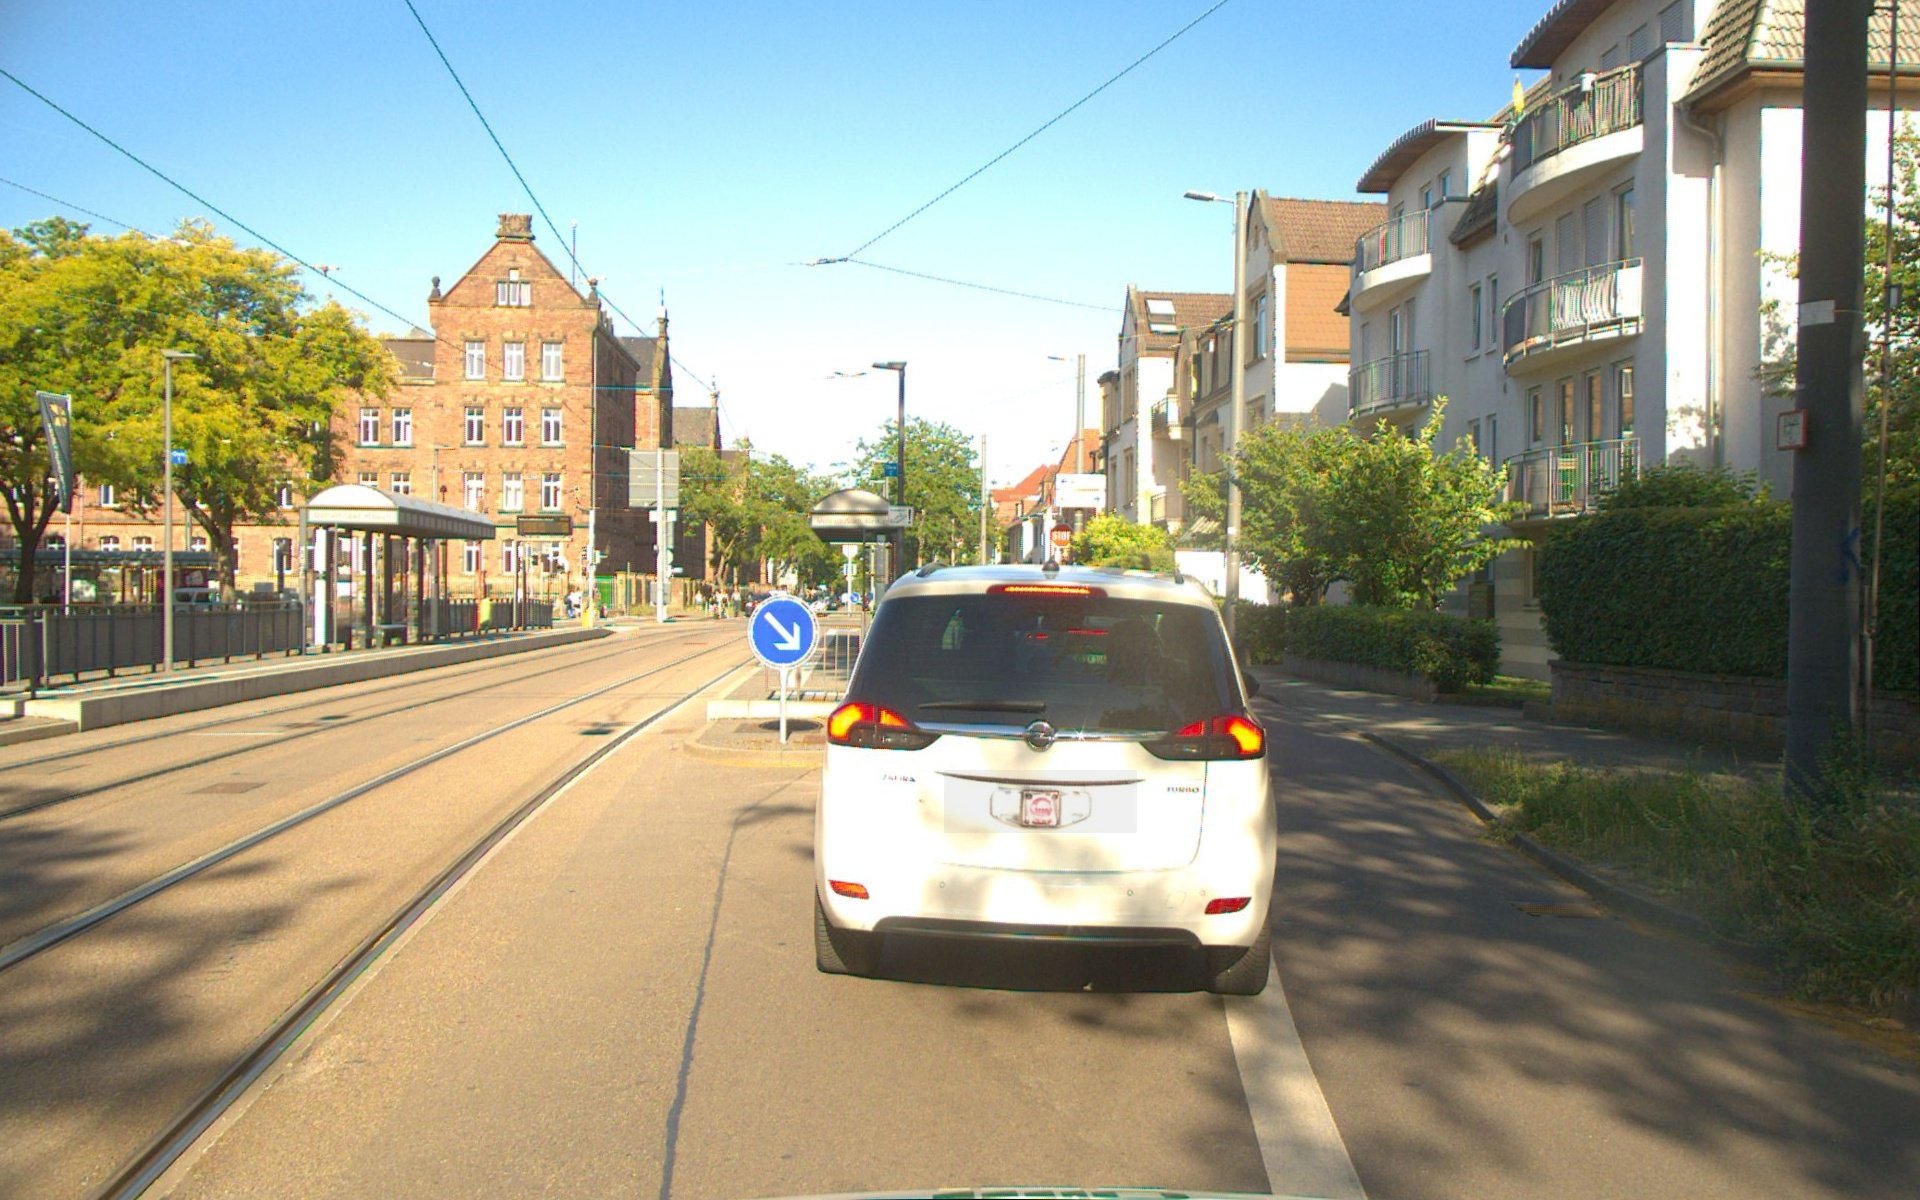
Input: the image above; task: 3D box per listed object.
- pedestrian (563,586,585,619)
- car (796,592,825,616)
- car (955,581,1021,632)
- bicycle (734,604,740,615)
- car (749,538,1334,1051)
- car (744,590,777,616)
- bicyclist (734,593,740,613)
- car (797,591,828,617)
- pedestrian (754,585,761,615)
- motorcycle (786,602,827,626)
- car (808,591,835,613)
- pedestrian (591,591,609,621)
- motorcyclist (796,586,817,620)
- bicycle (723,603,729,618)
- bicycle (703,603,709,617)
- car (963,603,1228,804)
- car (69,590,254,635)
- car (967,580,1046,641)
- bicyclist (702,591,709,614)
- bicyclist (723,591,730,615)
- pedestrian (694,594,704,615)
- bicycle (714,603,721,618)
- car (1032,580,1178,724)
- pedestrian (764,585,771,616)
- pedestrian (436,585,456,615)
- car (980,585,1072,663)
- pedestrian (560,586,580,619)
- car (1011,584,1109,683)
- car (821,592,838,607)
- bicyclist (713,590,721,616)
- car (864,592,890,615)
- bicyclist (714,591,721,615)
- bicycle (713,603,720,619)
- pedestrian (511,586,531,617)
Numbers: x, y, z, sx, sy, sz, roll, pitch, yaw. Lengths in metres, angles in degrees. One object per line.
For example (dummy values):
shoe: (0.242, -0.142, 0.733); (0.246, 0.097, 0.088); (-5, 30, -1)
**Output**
pedestrian: (-19.987, 0.137, 85.757); (0.877, 1.713, 1.029); (1, 0, -1)
car: (-10.351, 0.271, 114.246); (1.955, 1.657, 3.996); (0, 0, -5)
car: (0.830, 0.196, 51.760); (1.953, 1.529, 3.999); (0, 0, -1)
bicycle: (-15.217, 0.652, 112.912); (0.337, 0.737, 0.996); (1, 0, -4)
car: (0.457, 0.649, 7.590); (1.951, 1.673, 3.996); (1, 0, 6)
car: (-12.856, 0.204, 106.879); (1.955, 1.657, 3.996); (0, 0, -5)
bicyclist: (-15.213, 0.203, 112.935); (0.352, 1.326, 0.397); (0, 0, -4)
car: (-9.546, 0.254, 107.152); (1.955, 1.657, 3.996); (0, 0, -5)
pedestrian: (-13.646, 0.015, 111.723); (0.435, 2.049, 0.495); (0, 0, -4)
motorcycle: (-7.621, 0.695, 82.327); (2.054, 1.219, 0.605); (0, 0, -38)
car: (-10.941, 0.152, 130.476); (1.953, 1.657, 3.998); (0, 0, -3)
pedestrian: (-20.802, 0.336, 95.501); (0.719, 1.744, 0.706); (1, -1, 22)
motorcyclist: (-7.645, 0.151, 82.304); (0.836, 1.650, 0.607); (0, 0, -38)
bicycle: (-15.393, 0.682, 108.910); (0.337, 0.966, 0.996); (1, 0, -4)
bicycle: (-17.655, 0.669, 114.851); (0.337, 0.966, 0.996); (1, 0, -4)
car: (1.032, 0.750, 13.977); (1.912, 1.422, 4.001); (0, 0, 1)
car: (-35.725, 0.535, 74.183); (6.810, 1.954, 2.991); (0, 0, -2)
car: (1.200, 0.262, 44.305); (1.953, 1.529, 3.999); (0, 0, -1)
bicyclist: (-17.649, 0.193, 114.815); (0.435, 1.580, 0.495); (0, 0, -4)
bicyclist: (-15.383, 0.208, 108.903); (0.435, 1.580, 0.495); (0, 0, -4)
pedestrian: (-21.244, 0.354, 134.681); (0.720, 1.744, 0.753); (1, -1, -6)
bicycle: (-15.611, 0.668, 106.358); (0.337, 0.966, 0.996); (1, 0, -4)
car: (1.741, 0.587, 20.836); (1.603, 1.629, 3.855); (0, 0, 1)
pedestrian: (-13.049, 0.027, 112.045); (0.435, 2.049, 0.495); (0, 0, -4)
pedestrian: (-27.532, -0.002, 88.637); (0.915, 1.616, 0.802); (1, -1, -12)
car: (1.380, 0.496, 36.184); (1.793, 1.607, 4.009); (0, 0, -1)
pedestrian: (-20.666, 0.140, 87.633); (0.825, 1.721, 1.029); (1, 0, -1)
car: (1.714, 0.554, 29.264); (1.603, 1.629, 3.855); (0, 0, 1)
car: (-16.322, -0.058, 206.601); (1.953, 1.896, 3.998); (1, 0, -2)
bicyclist: (-15.153, 0.185, 103.040); (0.435, 1.580, 0.742); (0, 0, -4)
car: (-6.342, 0.254, 126.249); (1.954, 1.657, 3.997); (0, 0, -4)
bicyclist: (-15.574, 0.193, 106.316); (0.435, 1.580, 0.495); (0, 0, -4)
bicycle: (-15.162, 0.660, 102.832); (0.337, 0.966, 1.159); (1, 0, -4)
pedestrian: (-22.892, 0.067, 86.309); (0.786, 1.616, 0.934); (1, 0, -3)
